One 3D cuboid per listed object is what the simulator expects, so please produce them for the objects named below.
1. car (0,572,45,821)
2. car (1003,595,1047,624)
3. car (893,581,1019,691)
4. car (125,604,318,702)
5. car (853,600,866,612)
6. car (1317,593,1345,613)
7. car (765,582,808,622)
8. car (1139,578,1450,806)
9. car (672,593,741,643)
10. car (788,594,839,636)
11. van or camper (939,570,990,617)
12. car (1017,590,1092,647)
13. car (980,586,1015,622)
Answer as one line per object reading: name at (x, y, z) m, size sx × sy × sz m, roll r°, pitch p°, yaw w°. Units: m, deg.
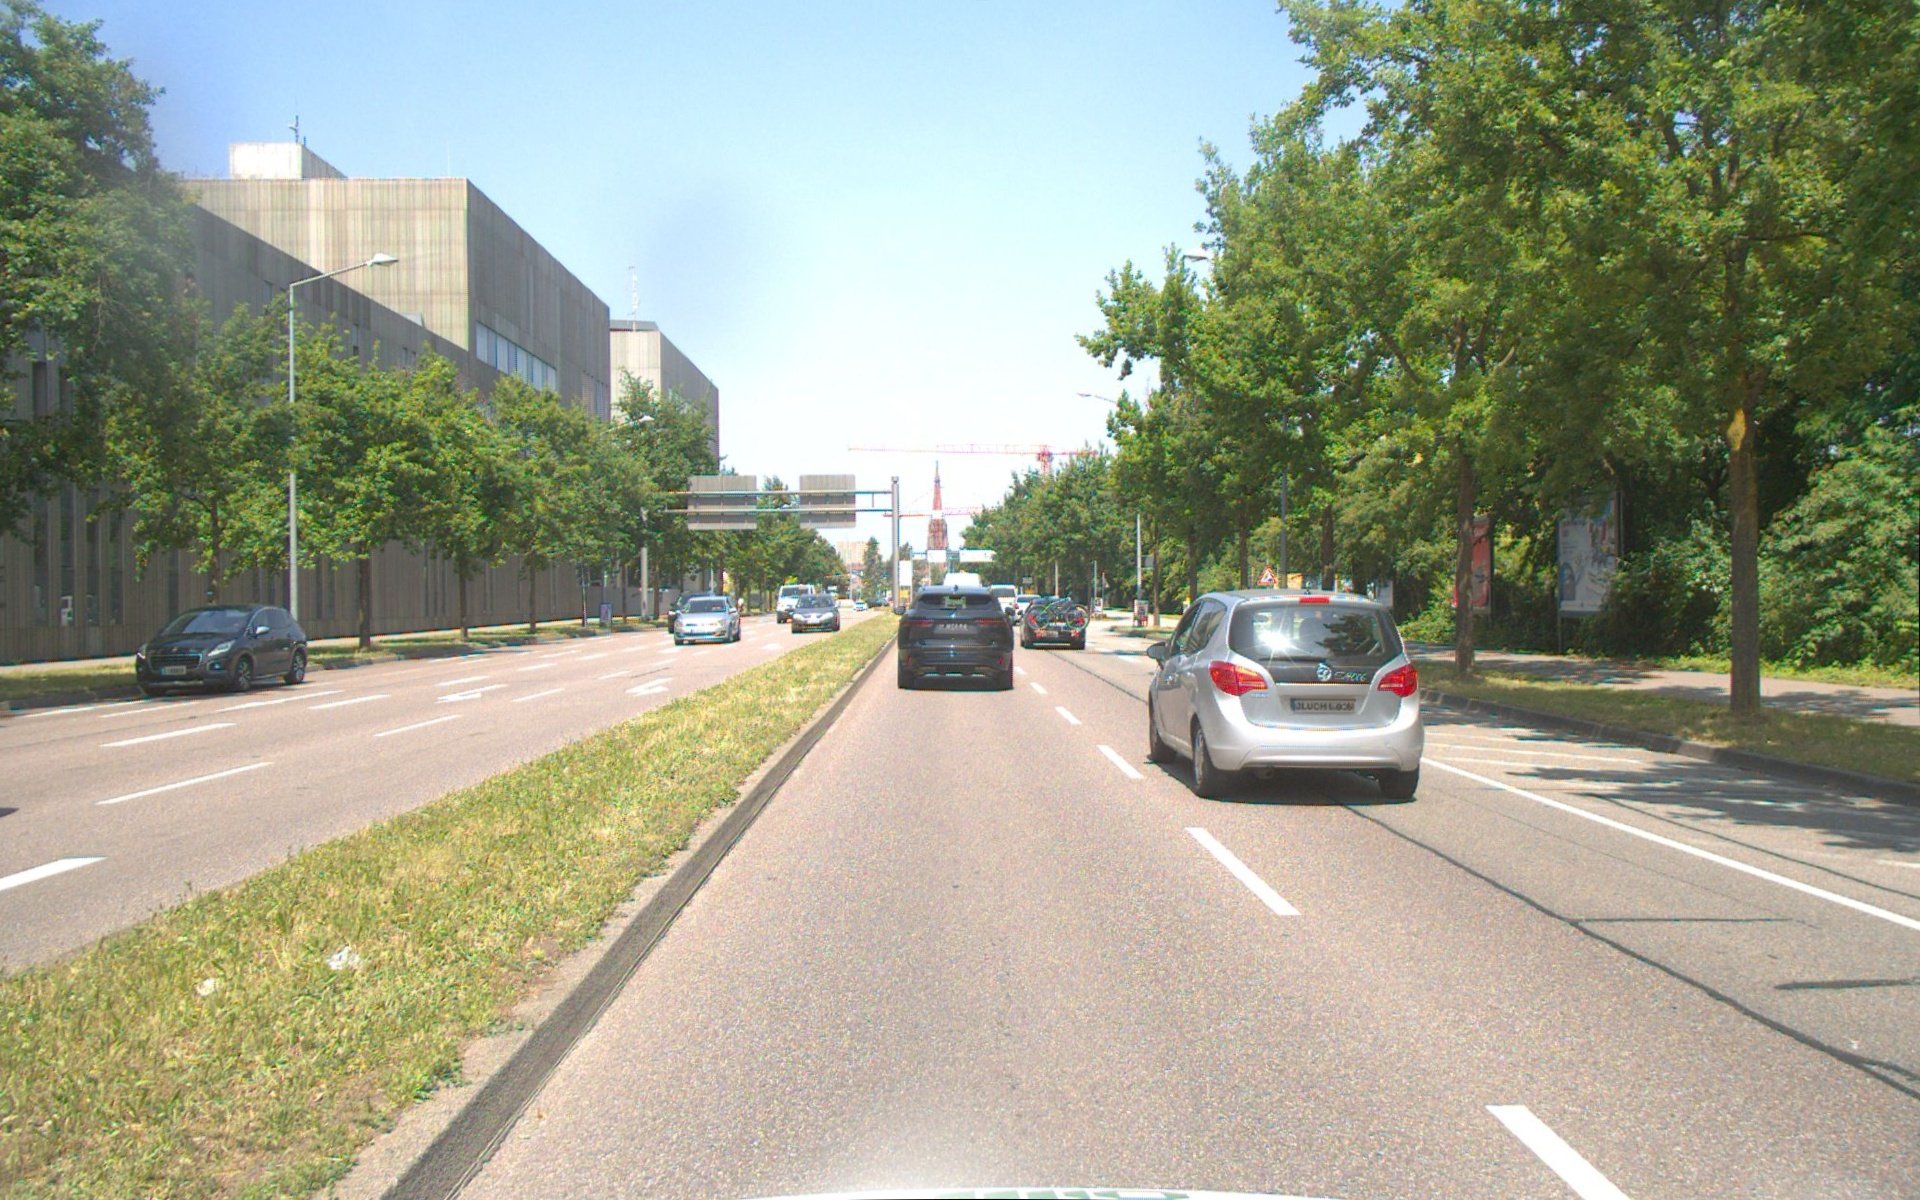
car at (-7.475, 0.703, 9.490) m, size 1.765 × 1.692 × 4.573 m, roll -3°, pitch 0°, yaw 1°
car at (3.179, 0.457, 81.164) m, size 1.622 × 1.380 × 4.456 m, roll -1°, pitch 0°, yaw -5°
car at (-0.044, 0.562, 28.009) m, size 1.957 × 1.719 × 4.034 m, roll 0°, pitch 0°, yaw 1°
car at (-13.875, 0.933, 31.373) m, size 1.774 × 1.570 × 4.368 m, roll -4°, pitch 0°, yaw -3°
car at (-13.756, 0.808, 226.720) m, size 1.774 × 1.452 × 4.356 m, roll -2°, pitch 0°, yaw -3°
car at (23.583, 0.181, 105.273) m, size 1.350 × 1.208 × 3.305 m, roll -1°, pitch 0°, yaw 6°
car at (-9.365, 0.092, 89.764) m, size 1.871 × 2.028 × 4.896 m, roll -2°, pitch 0°, yaw -1°
car at (2.651, 0.661, 13.998) m, size 1.756 × 1.640 × 3.890 m, roll -1°, pitch 0°, yaw -1°
car at (-8.076, 0.541, 52.980) m, size 1.730 × 1.486 × 4.143 m, roll -2°, pitch 0°, yaw -3°
car at (-5.640, 0.559, 64.145) m, size 1.774 × 1.492 × 4.055 m, roll -2°, pitch 0°, yaw -3°
van or camper at (0.269, -0.318, 86.636) m, size 2.441 × 2.331 × 4.922 m, roll -1°, pitch 0°, yaw 3°
car at (2.677, 0.516, 47.621) m, size 1.972 × 1.544 × 4.461 m, roll -1°, pitch 0°, yaw 1°
car at (2.203, 0.225, 98.016) m, size 1.953 × 2.049 × 4.000 m, roll -1°, pitch 0°, yaw 0°
